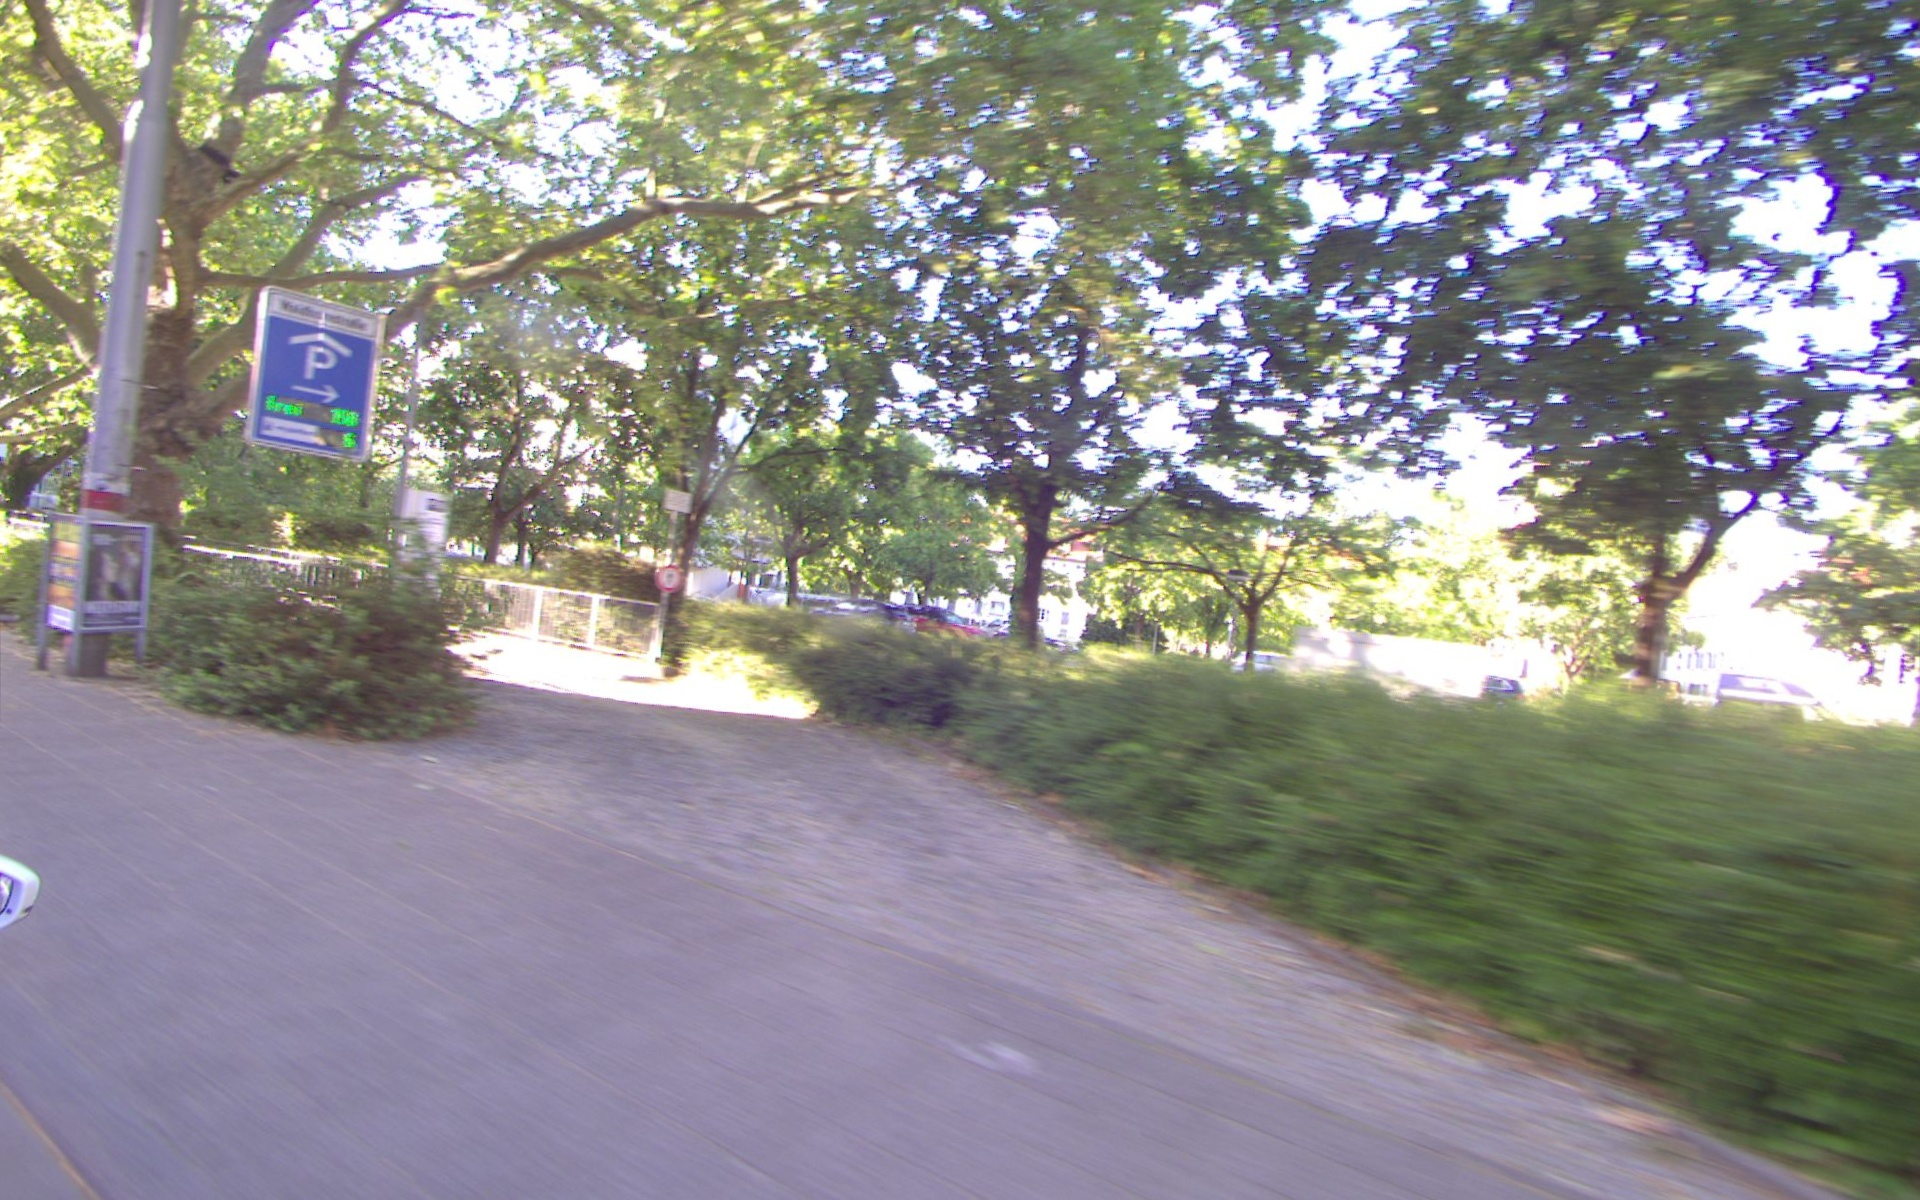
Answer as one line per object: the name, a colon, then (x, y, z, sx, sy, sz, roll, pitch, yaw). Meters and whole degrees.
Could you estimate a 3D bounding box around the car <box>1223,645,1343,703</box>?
car: (12.529, 2.864, 39.102, 3.935, 1.645, 1.921, 7, -2, 34)

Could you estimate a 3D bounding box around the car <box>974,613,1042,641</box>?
car: (3.623, 2.036, 75.998, 4.582, 1.492, 2.011, 7, -2, 34)

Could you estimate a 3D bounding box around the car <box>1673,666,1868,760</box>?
car: (29.429, 4.047, 36.788, 5.074, 2.604, 1.996, 7, 0, 32)

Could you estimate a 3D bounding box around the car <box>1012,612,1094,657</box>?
car: (5.206, 1.914, 56.176, 3.931, 2.039, 1.997, 7, 0, 28)

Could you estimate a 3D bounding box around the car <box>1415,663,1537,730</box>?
car: (21.480, 3.977, 41.924, 4.240, 2.114, 1.784, 7, 0, 32)

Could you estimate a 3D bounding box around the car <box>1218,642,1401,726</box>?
car: (9.416, 2.233, 27.216, 4.240, 1.620, 1.784, 7, -1, 32)

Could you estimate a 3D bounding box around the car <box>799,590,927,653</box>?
car: (-3.357, 0.723, 34.706, 3.931, 1.646, 1.762, 7, 0, 29)

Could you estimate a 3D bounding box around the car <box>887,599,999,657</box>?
car: (-0.659, 1.058, 38.459, 3.935, 1.645, 1.550, 7, -2, 34)
